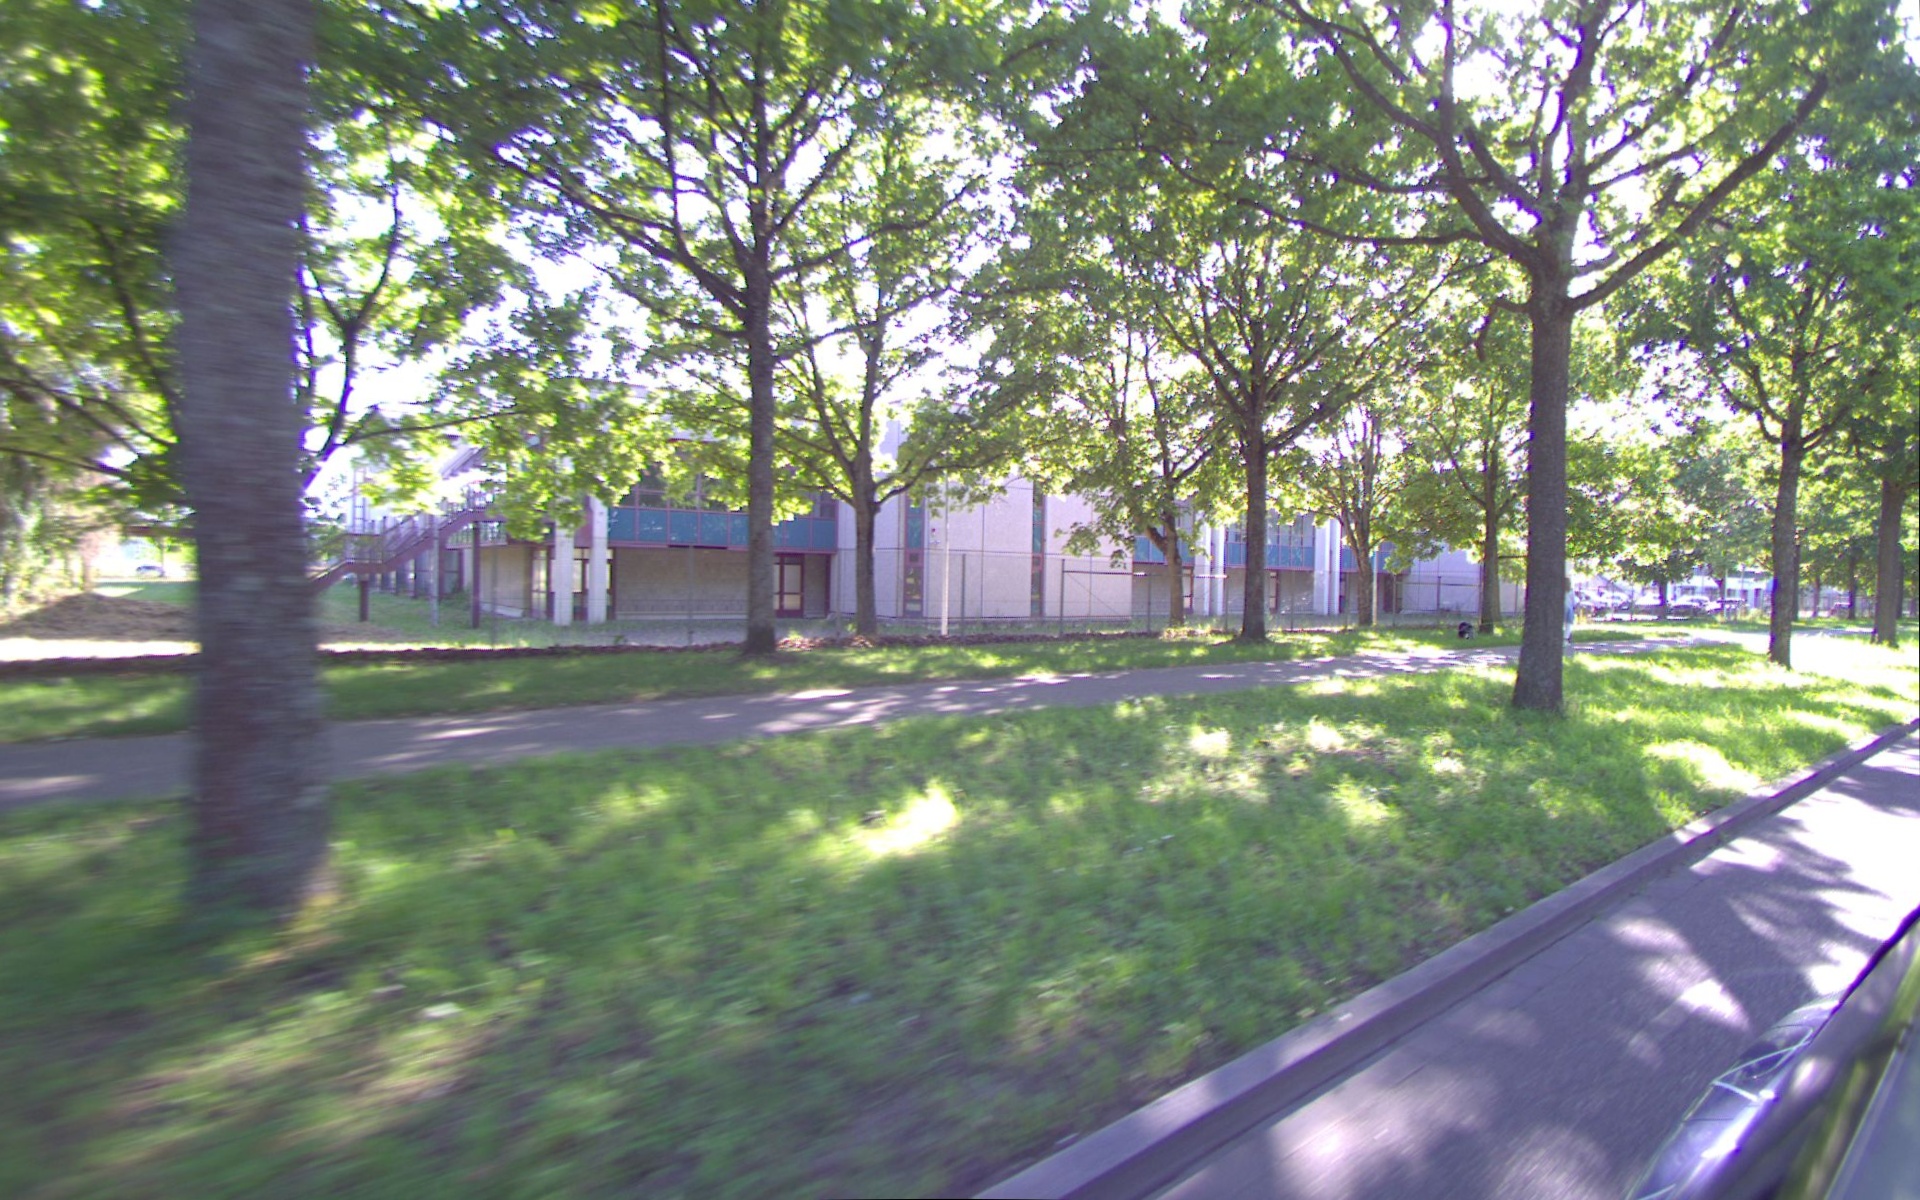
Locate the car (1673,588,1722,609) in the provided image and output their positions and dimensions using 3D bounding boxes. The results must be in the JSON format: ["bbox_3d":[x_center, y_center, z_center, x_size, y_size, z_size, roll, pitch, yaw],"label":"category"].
[{"bbox_3d":[58.431,-0.095,80.159,4.375,1.578,1.999,0,1,-39],"label":"car"}]

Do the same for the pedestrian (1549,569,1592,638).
[{"bbox_3d":[15.097,0.085,25.018,0.706,1.650,0.610,1,3,-38],"label":"pedestrian"}]

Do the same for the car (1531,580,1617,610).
[{"bbox_3d":[45.638,-0.389,75.307,1.862,1.983,5.073,0,3,-41],"label":"car"}]
